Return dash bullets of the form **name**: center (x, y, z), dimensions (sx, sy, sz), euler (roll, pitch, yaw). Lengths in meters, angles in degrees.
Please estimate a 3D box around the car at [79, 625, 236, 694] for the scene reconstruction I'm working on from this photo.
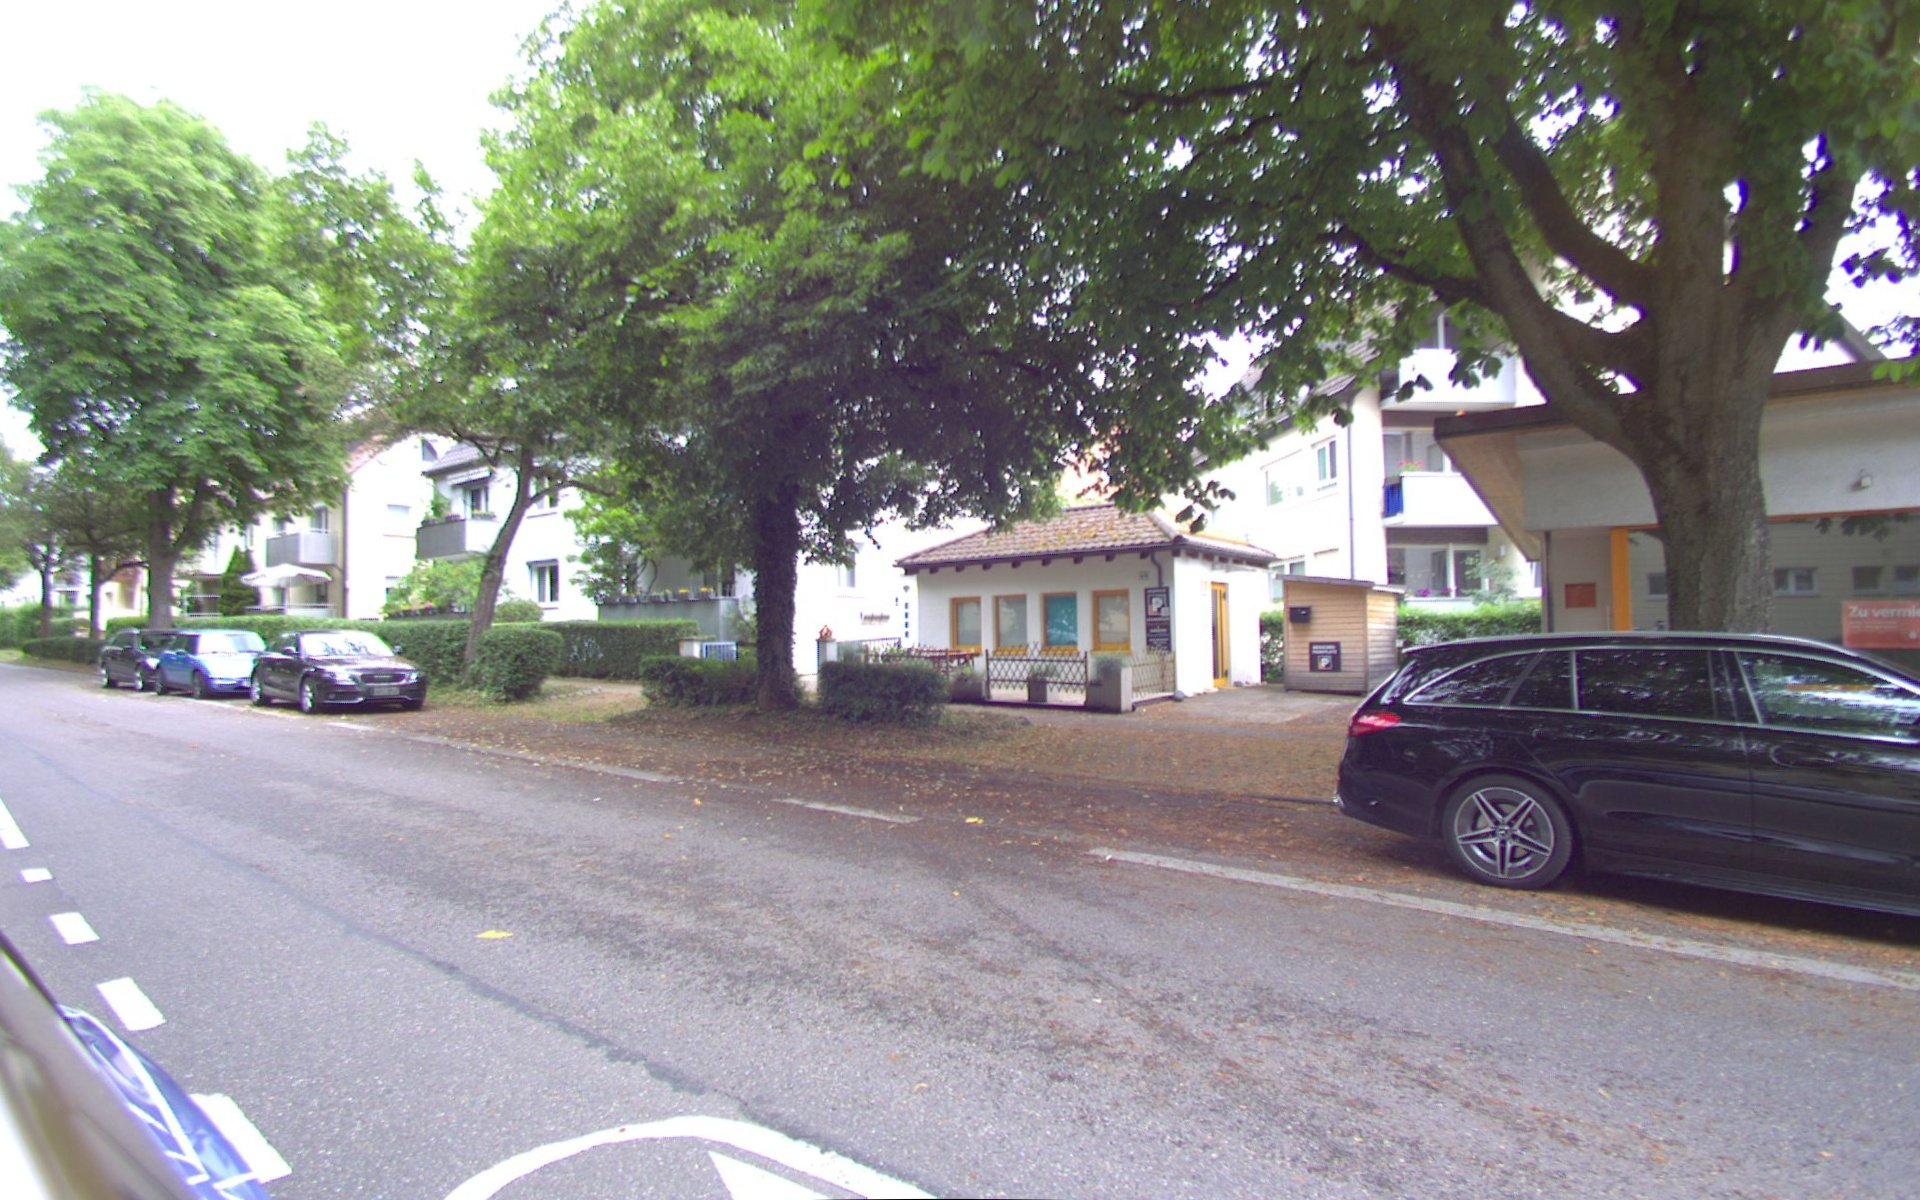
- **car**: center (-19.662, 1.411, 24.727), dimensions (4.557, 1.545, 1.866), euler (-2, -3, 37)

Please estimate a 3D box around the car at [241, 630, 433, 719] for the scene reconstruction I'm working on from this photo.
- **car**: center (-11.193, 1.264, 18.078), dimensions (4.168, 1.414, 1.713), euler (-2, -3, 40)

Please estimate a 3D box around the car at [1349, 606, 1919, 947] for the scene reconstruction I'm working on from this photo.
- **car**: center (4.748, 0.822, 5.394), dimensions (4.611, 1.512, 1.973), euler (-2, -3, 40)

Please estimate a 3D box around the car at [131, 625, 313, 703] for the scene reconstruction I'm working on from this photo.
- **car**: center (-15.935, 1.329, 21.783), dimensions (4.557, 1.512, 1.866), euler (-2, -3, 37)
